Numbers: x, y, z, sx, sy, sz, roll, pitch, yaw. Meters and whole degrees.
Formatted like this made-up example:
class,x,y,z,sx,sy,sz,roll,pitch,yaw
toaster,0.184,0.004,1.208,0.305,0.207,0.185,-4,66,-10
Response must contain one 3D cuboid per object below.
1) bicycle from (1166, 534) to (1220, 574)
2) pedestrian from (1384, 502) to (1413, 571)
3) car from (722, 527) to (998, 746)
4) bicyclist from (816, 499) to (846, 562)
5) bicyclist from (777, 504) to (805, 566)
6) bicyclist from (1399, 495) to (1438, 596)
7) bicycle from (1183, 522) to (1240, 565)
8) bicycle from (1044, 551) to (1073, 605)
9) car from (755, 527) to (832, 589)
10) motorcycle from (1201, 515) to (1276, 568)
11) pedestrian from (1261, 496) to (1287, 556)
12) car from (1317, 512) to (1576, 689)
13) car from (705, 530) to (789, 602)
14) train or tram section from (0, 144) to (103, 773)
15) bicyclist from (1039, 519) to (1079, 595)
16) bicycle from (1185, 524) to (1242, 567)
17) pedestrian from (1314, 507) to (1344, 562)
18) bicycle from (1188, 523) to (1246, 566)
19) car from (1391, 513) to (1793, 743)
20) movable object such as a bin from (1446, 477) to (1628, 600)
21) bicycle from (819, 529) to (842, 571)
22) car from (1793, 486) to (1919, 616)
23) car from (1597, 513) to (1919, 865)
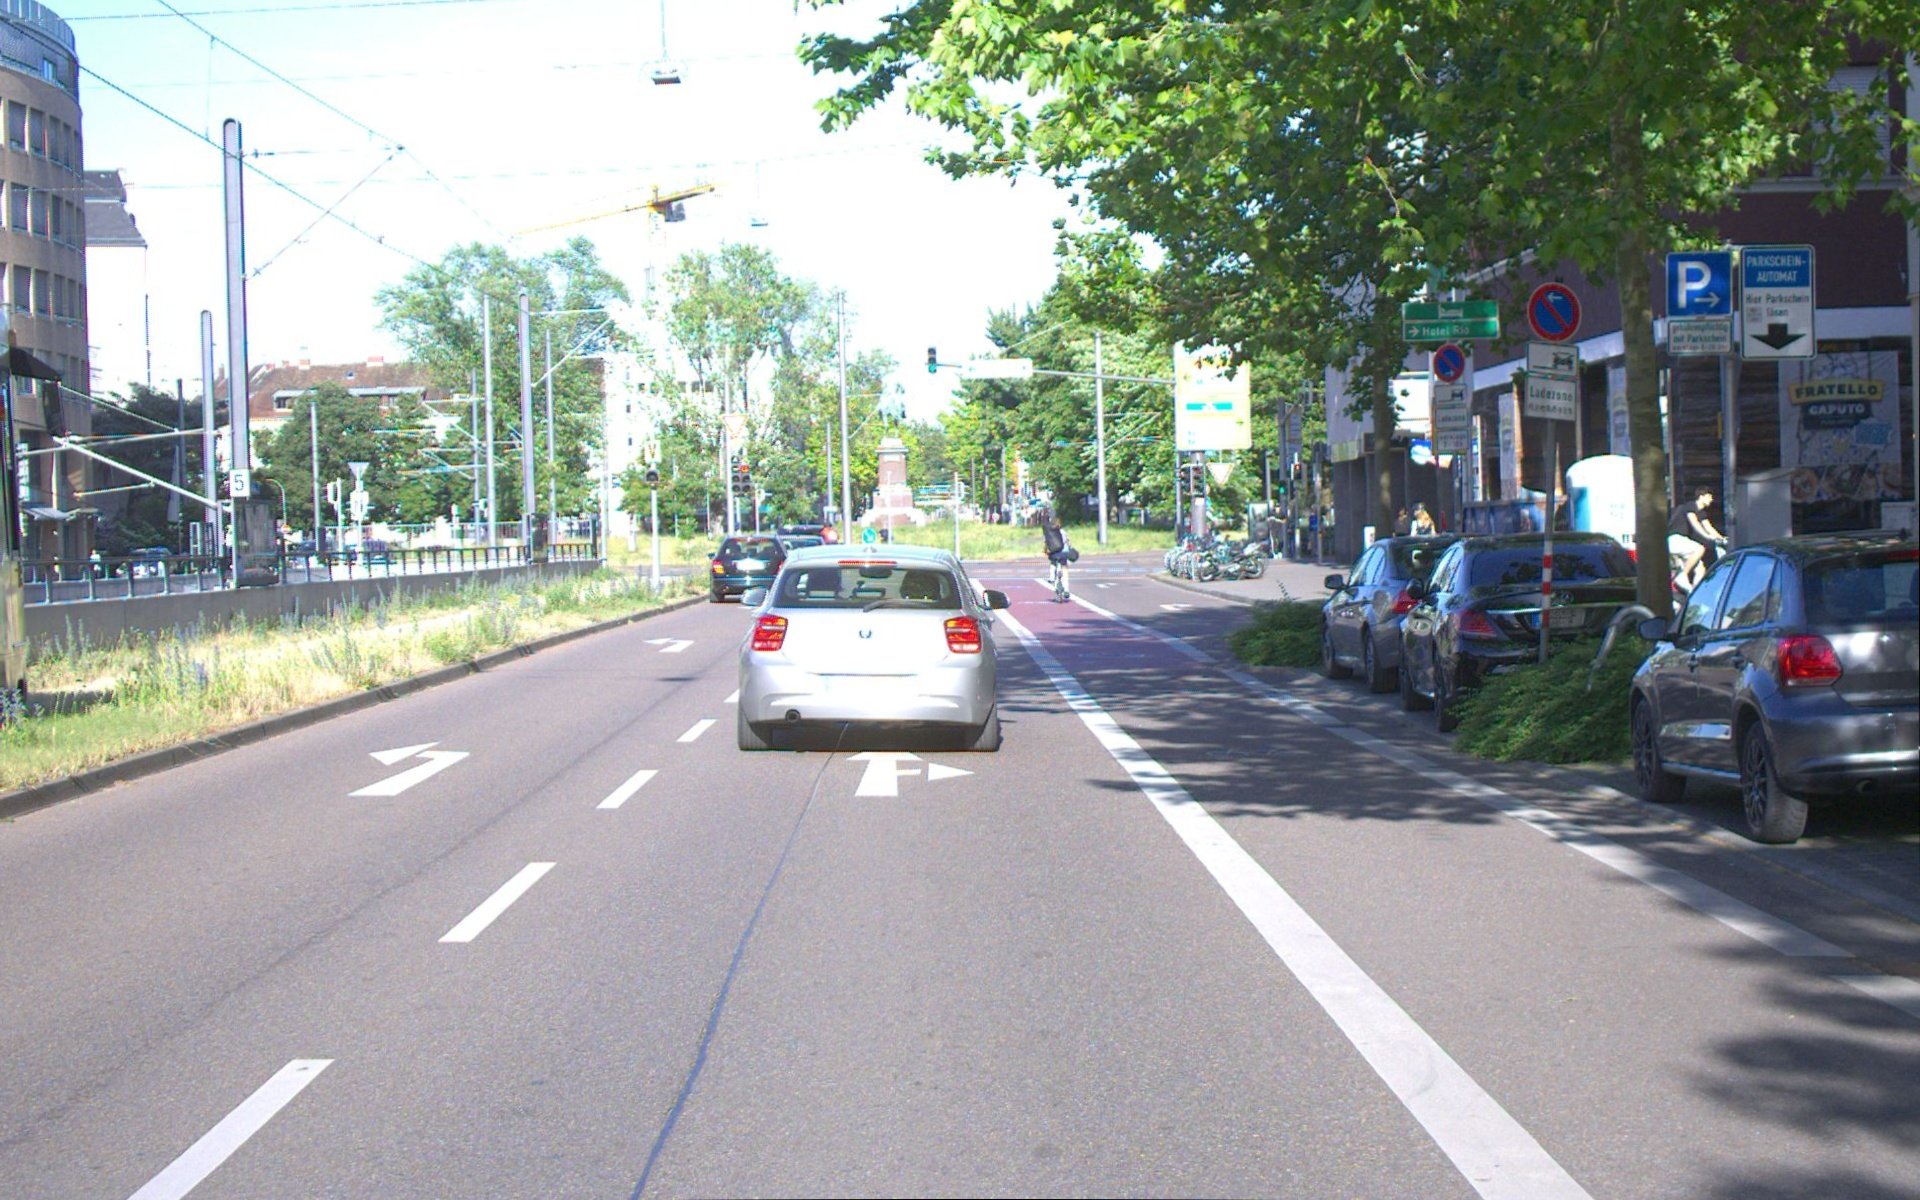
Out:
class,x,y,z,sx,sy,sz,roll,pitch,yaw
bicycle,6.491,-1.275,95.763,1.465,1.063,0.257,-2,1,2
pedestrian,10.120,-1.475,79.367,0.573,1.577,0.556,-1,1,0
car,-0.680,0.200,24.674,1.798,1.410,4.000,-1,1,-1
bicyclist,-3.252,-1.759,86.752,0.616,1.566,0.686,-1,1,-12
bicyclist,-4.256,-1.636,86.605,0.616,1.566,0.686,1,1,1
bicyclist,7.676,-0.916,57.574,0.601,1.684,0.597,-1,1,10
bicycle,6.631,-1.490,90.726,1.465,1.063,0.257,-2,1,2
bicycle,2.018,-0.461,70.633,0.499,1.085,1.997,1,1,0
car,-3.920,-1.010,81.331,1.644,1.416,4.000,0,1,0
motorcycle,6.975,-1.460,86.195,1.855,1.296,0.652,-1,1,3
pedestrian,10.518,-2.478,115.169,0.791,2.007,0.870,1,1,7
car,4.554,-0.053,32.746,1.789,1.550,4.436,-1,1,0
car,-4.503,-0.744,73.047,1.726,1.465,4.411,0,1,-3
train or tram section,-7.419,-0.836,18.318,2.952,3.883,10.803,1,1,0
bicyclist,2.030,-0.886,70.620,0.785,1.526,0.895,1,1,0
bicycle,6.651,-1.432,90.265,1.465,1.063,0.257,-2,1,2
pedestrian,12.403,-2.202,115.564,0.826,1.850,0.916,1,1,14
bicycle,6.677,-1.442,89.285,1.465,1.063,0.257,-2,1,2
car,4.486,0.133,25.130,2.038,1.504,4.594,-1,1,0
movable object such as a bin,9.087,-1.004,54.401,1.945,1.837,3.481,-1,2,-6
bicycle,-3.275,-1.267,86.791,0.338,1.053,1.779,-1,1,-10
car,14.098,-0.707,48.269,4.299,1.782,1.995,0,1,0
car,4.509,0.359,17.541,1.694,1.497,3.802,-3,2,-1
